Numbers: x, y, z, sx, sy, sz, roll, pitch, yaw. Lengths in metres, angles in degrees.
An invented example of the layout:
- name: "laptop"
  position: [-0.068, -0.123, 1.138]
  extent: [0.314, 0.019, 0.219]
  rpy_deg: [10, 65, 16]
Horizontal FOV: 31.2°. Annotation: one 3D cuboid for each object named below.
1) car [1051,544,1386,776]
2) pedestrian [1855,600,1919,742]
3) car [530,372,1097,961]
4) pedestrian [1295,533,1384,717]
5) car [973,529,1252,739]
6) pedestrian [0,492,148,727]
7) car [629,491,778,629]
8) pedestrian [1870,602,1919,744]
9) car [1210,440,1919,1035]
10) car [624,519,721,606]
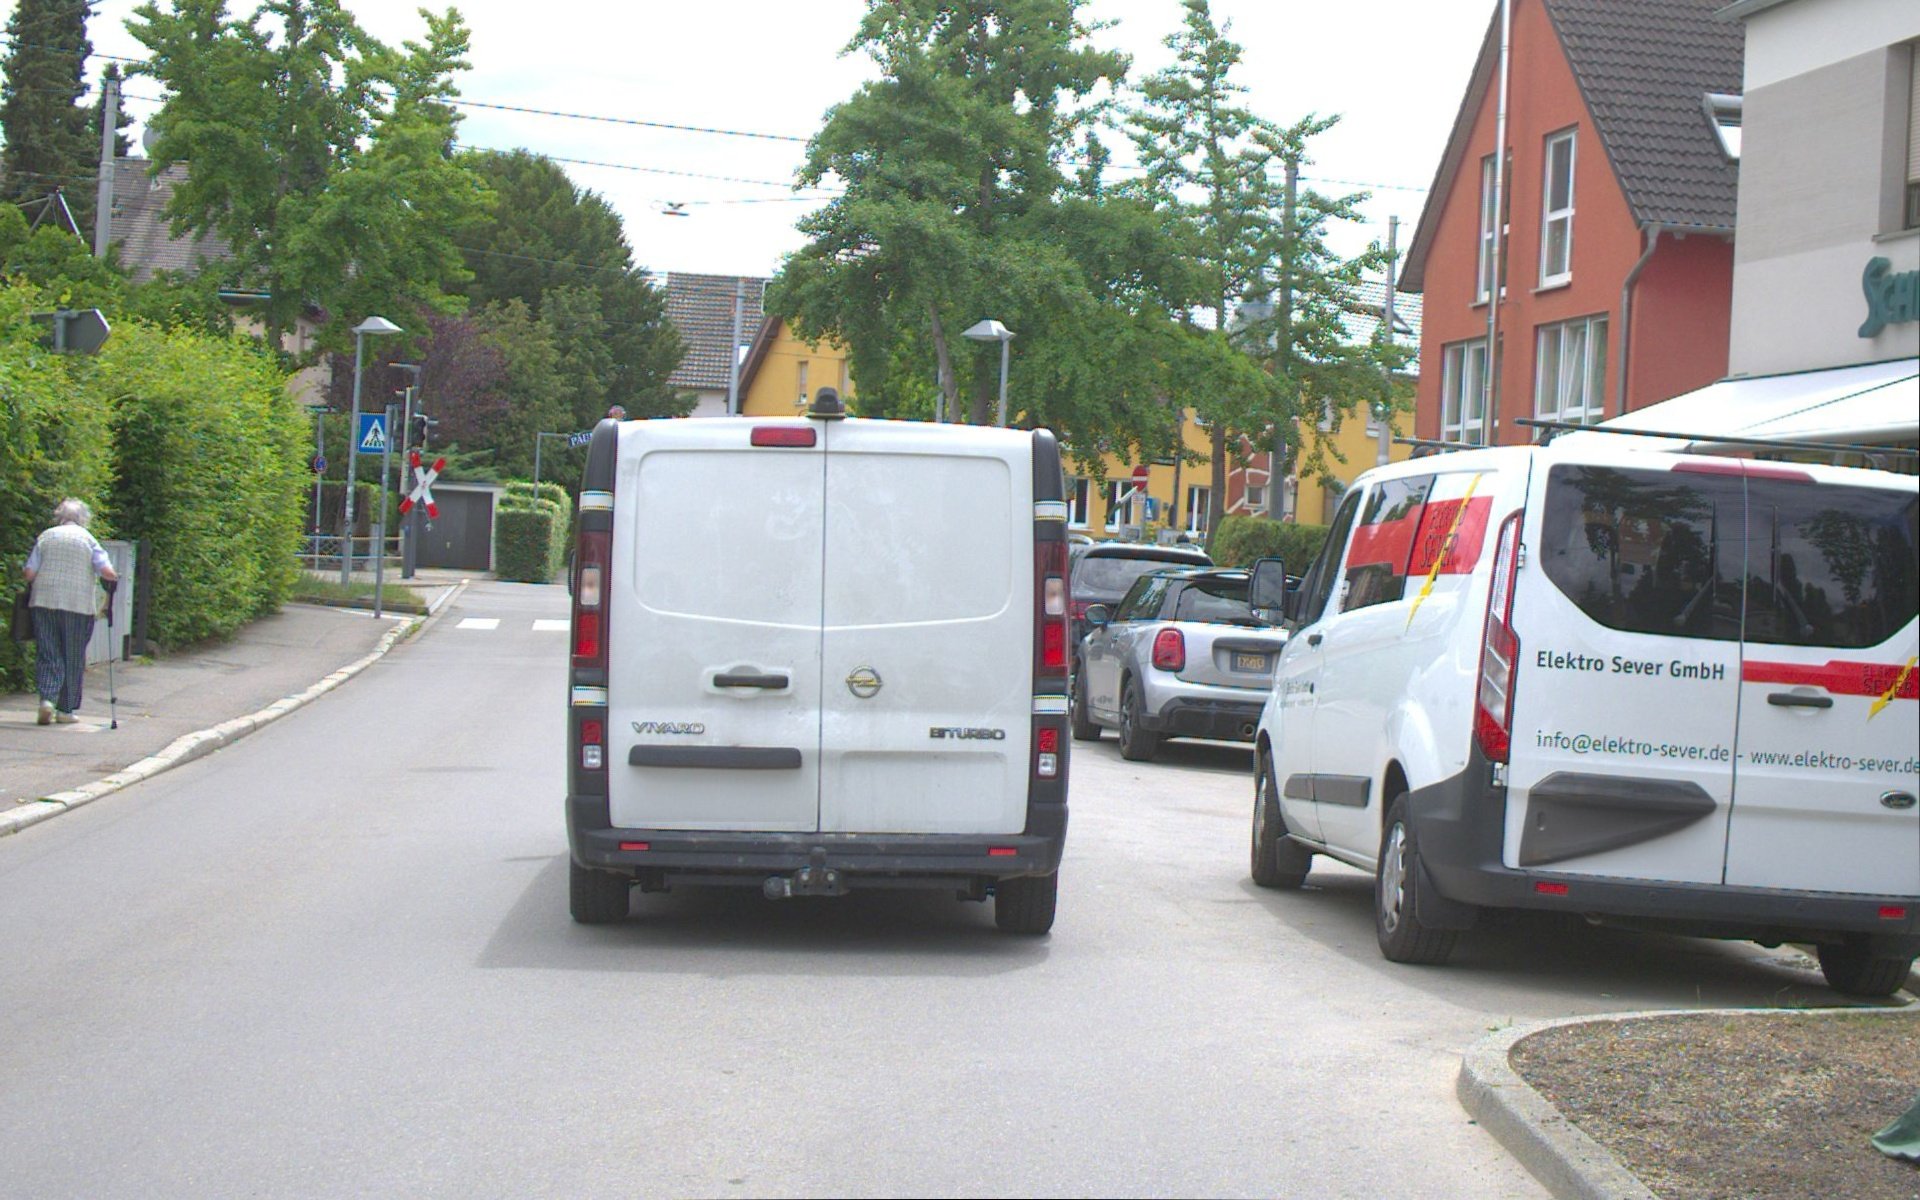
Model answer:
- name: "car"
  position: [1.874, 0.405, 26.007]
  extent: [1.741, 1.489, 3.656]
  rpy_deg: [5, 0, -7]
- name: "pedestrian"
  position: [7.889, 0.602, 29.189]
  extent: [0.421, 1.178, 0.324]
  rpy_deg: [3, 0, -6]
- name: "car"
  position: [-0.654, 0.220, 14.299]
  extent: [1.915, 1.996, 4.438]
  rpy_deg: [2, 0, -4]
- name: "pedestrian"
  position: [3.427, 0.222, 31.058]
  extent: [0.590, 1.601, 0.529]
  rpy_deg: [5, 0, -2]
- name: "car"
  position: [1.283, 0.247, 30.743]
  extent: [1.702, 1.609, 4.260]
  rpy_deg: [5, 1, -7]
- name: "pedestrian"
  position: [-5.936, 0.064, 22.822]
  extent: [0.876, 1.480, 0.455]
  rpy_deg: [5, 0, -23]
- name: "car"
  position: [-3.680, -0.563, 49.647]
  extent: [1.993, 1.842, 4.001]
  rpy_deg: [2, 0, -4]
- name: "pedestrian"
  position: [7.926, 0.612, 28.851]
  extent: [0.421, 1.161, 0.324]
  rpy_deg: [3, 0, -6]
- name: "car"
  position: [2.462, 0.470, 14.268]
  extent: [1.958, 1.909, 4.902]
  rpy_deg: [5, 0, -5]
- name: "car"
  position: [-6.274, -0.809, 75.300]
  extent: [1.993, 1.776, 4.001]
  rpy_deg: [2, 0, -4]
